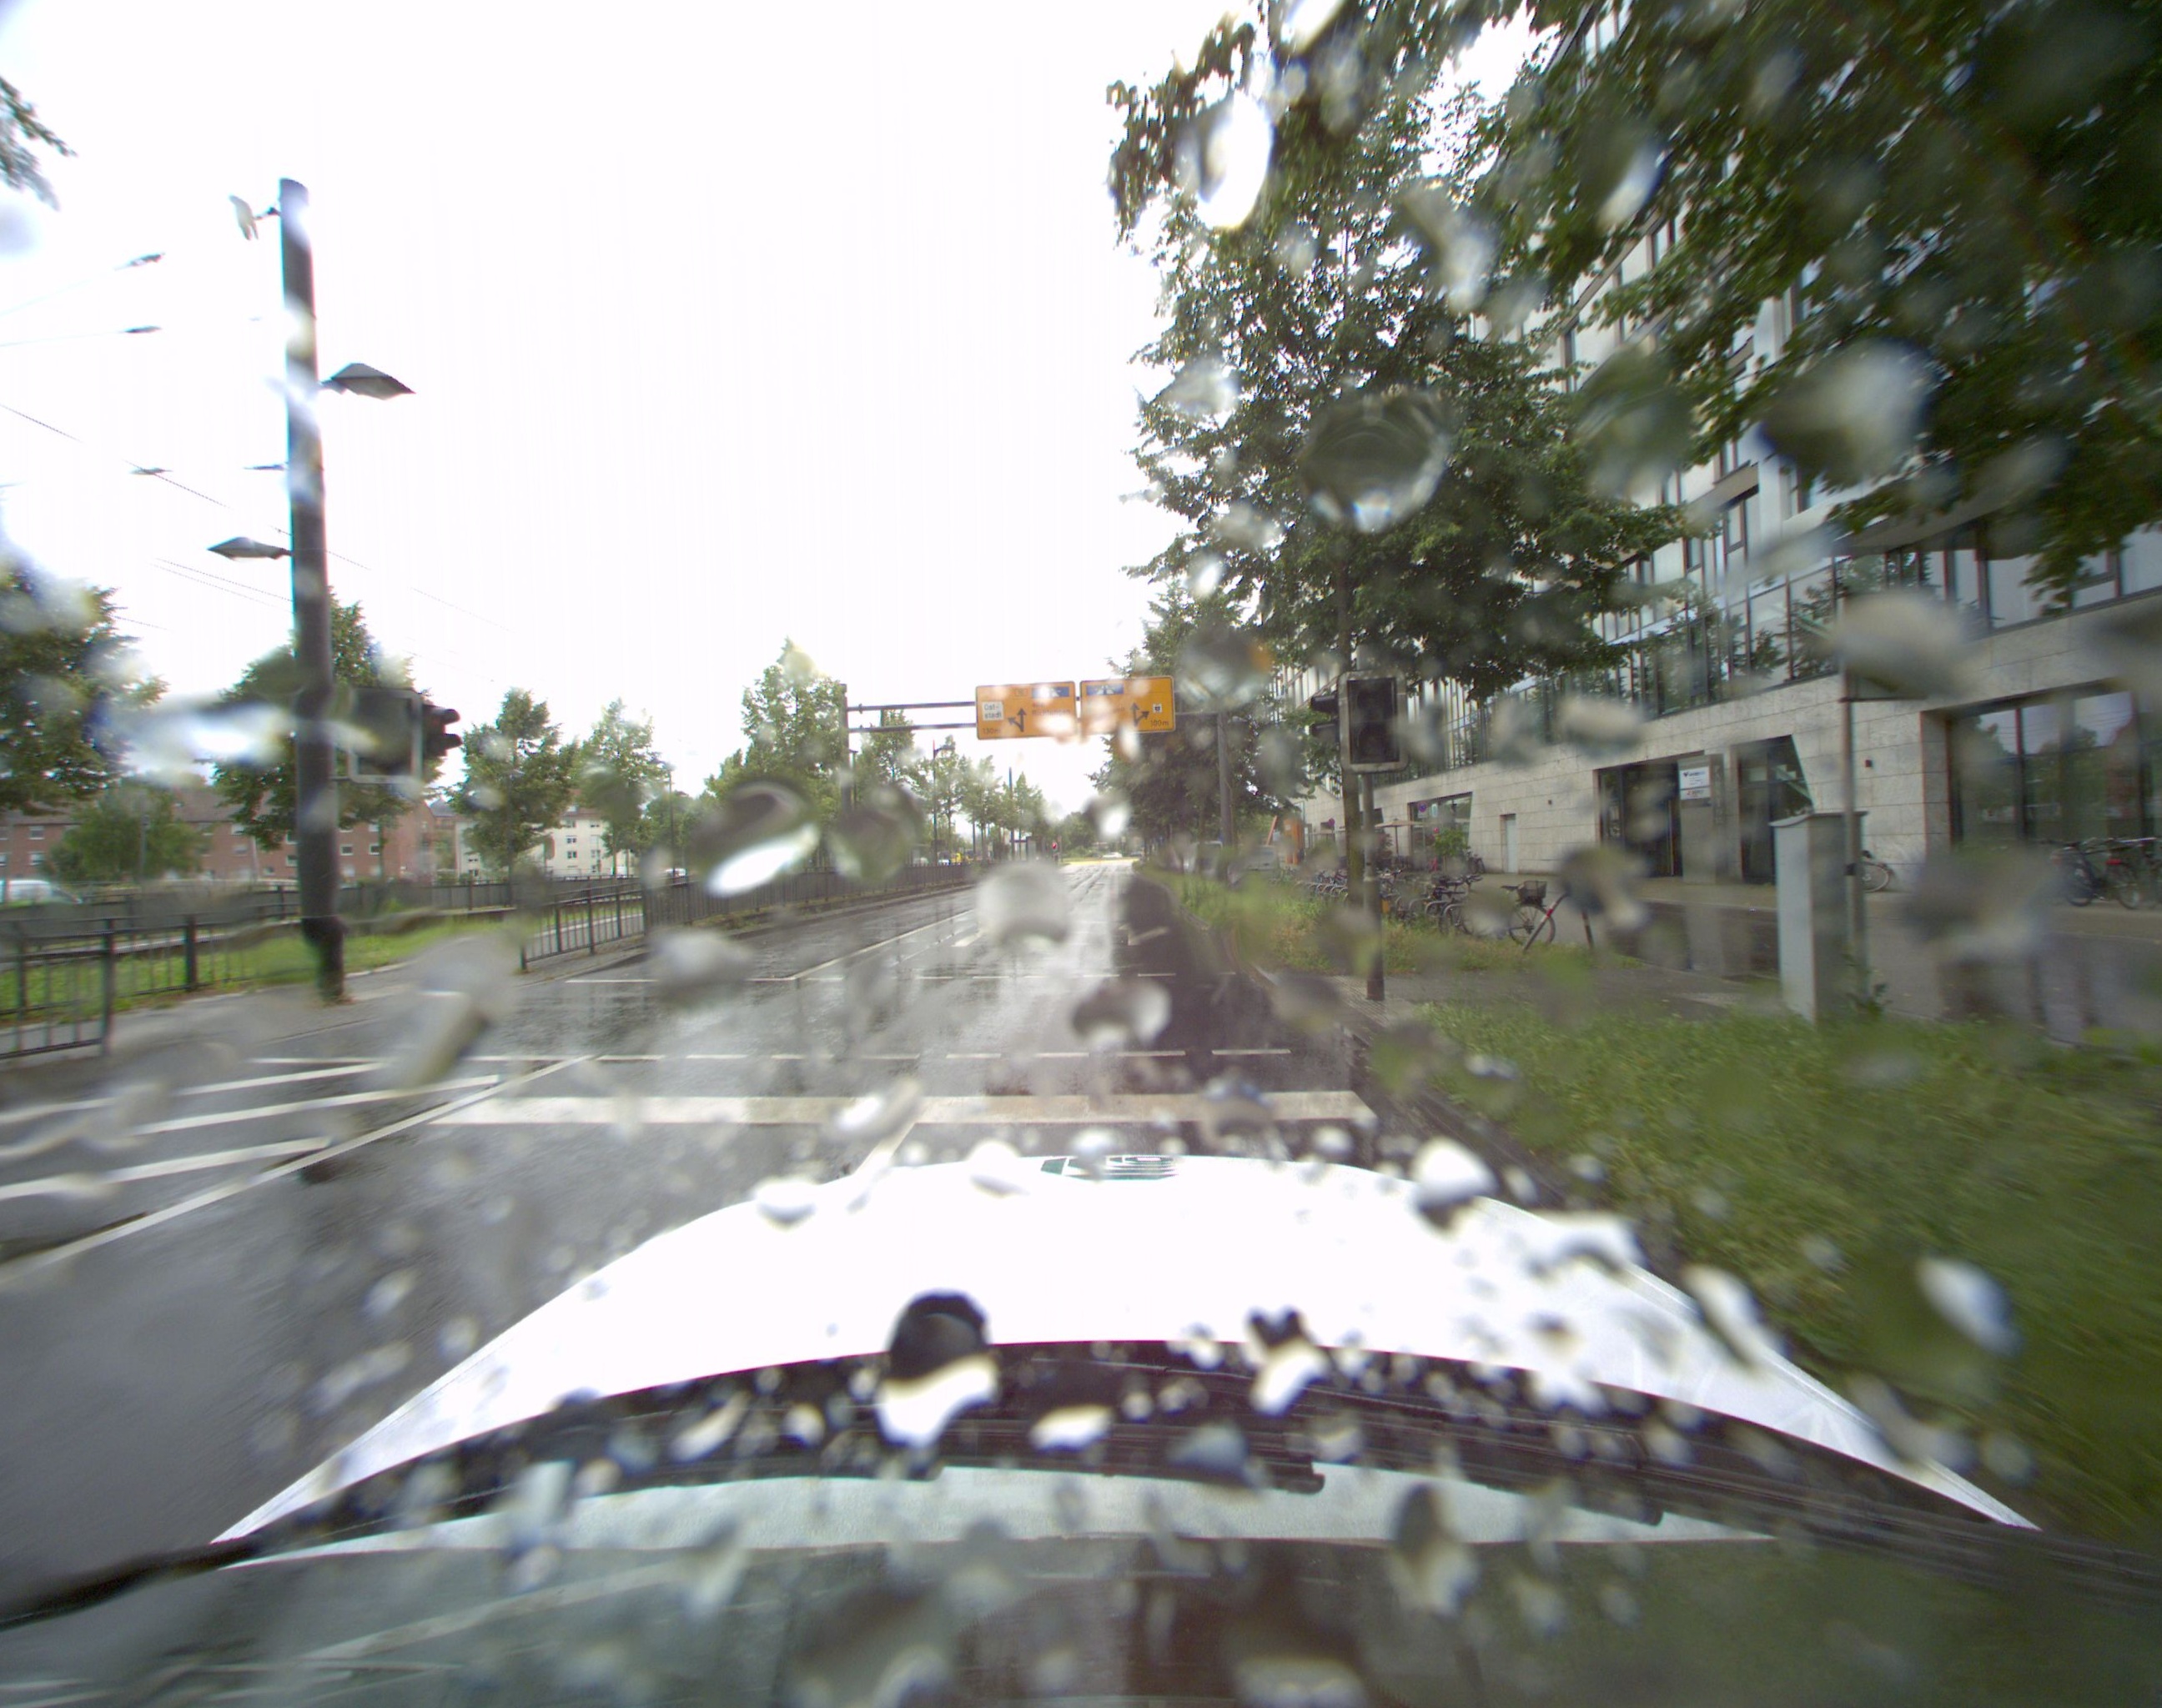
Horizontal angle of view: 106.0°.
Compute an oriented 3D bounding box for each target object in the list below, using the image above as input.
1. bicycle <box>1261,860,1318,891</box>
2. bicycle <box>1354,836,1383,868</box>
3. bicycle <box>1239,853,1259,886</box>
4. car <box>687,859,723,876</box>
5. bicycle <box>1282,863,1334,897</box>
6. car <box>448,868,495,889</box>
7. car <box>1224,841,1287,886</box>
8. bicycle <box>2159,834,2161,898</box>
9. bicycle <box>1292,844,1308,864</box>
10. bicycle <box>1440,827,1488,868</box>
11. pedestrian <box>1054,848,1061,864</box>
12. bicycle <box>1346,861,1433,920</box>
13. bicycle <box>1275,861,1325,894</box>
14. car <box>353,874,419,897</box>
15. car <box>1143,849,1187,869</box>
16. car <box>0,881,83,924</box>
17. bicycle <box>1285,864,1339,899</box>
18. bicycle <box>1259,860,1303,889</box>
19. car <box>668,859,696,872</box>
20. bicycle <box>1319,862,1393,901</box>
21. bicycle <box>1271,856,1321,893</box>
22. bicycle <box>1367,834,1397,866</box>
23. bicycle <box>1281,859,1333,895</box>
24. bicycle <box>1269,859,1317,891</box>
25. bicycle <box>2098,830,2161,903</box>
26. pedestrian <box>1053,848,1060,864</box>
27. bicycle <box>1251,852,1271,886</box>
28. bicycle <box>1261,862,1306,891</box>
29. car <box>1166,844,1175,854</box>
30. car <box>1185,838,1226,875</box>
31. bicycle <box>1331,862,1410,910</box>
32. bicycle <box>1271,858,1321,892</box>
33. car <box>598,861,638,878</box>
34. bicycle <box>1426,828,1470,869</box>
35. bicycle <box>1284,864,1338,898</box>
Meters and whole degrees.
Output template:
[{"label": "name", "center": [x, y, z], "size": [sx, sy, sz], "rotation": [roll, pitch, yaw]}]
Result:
[{"label": "bicycle", "center": [6.274, 0.644, 24.507], "size": [1.589, 0.849, 0.311], "rotation": [-2, 0, 1]}, {"label": "bicycle", "center": [16.454, -0.140, 46.668], "size": [0.642, 1.722, 3.122], "rotation": [-2, 2, 2]}, {"label": "bicycle", "center": [4.476, 0.402, 21.724], "size": [0.273, 0.849, 1.293], "rotation": [-2, 0, 3]}, {"label": "car", "center": [-47.537, 1.723, 103.052], "size": [1.978, 2.013, 4.018], "rotation": [-2, 0, 18]}, {"label": "bicycle", "center": [6.078, 0.682, 21.805], "size": [1.283, 0.849, 0.275], "rotation": [-3, 0, 1]}, {"label": "car", "center": [-67.985, 2.696, 90.950], "size": [1.986, 2.013, 4.003], "rotation": [-2, 2, 2]}, {"label": "car", "center": [7.554, 0.385, 35.671], "size": [1.898, 1.791, 4.691], "rotation": [-2, 0, 2]}, {"label": "bicycle", "center": [15.988, 0.193, 11.131], "size": [1.798, 1.028, 0.402], "rotation": [-2, -1, 4]}, {"label": "bicycle", "center": [18.314, 0.003, 68.191], "size": [0.663, 1.534, 2.767], "rotation": [-2, 2, 3]}, {"label": "bicycle", "center": [17.224, -0.327, 36.705], "size": [0.769, 1.722, 3.122], "rotation": [-2, 2, 2]}, {"label": "pedestrian", "center": [-2.987, 0.194, 105.186], "size": [0.693, 2.013, 0.658], "rotation": [-2, 2, 11]}, {"label": "bicycle", "center": [6.235, 0.732, 16.463], "size": [1.607, 1.096, 0.297], "rotation": [-3, 0, 0]}, {"label": "bicycle", "center": [6.053, 0.646, 22.517], "size": [1.283, 0.849, 0.275], "rotation": [-2, 0, 1]}, {"label": "car", "center": [-76.436, 3.395, 89.685], "size": [2.073, 2.013, 5.388], "rotation": [-2, 2, 10]}, {"label": "car", "center": [7.295, 0.436, 71.213], "size": [1.827, 1.545, 3.962], "rotation": [-4, 3, -30]}, {"label": "car", "center": [-67.168, 3.117, 51.151], "size": [1.830, 2.326, 5.504], "rotation": [-2, 2, 2]}, {"label": "bicycle", "center": [5.983, 0.705, 21.090], "size": [1.283, 0.849, 0.275], "rotation": [-2, 0, 1]}, {"label": "bicycle", "center": [6.364, 0.646, 25.925], "size": [1.283, 0.849, 0.311], "rotation": [-2, 0, 1]}, {"label": "car", "center": [-59.711, 1.726, 121.889], "size": [3.545, 1.738, 1.694], "rotation": [-3, 2, -22]}, {"label": "bicycle", "center": [6.354, 0.631, 18.853], "size": [1.609, 0.849, 0.275], "rotation": [-1, -1, 1]}, {"label": "bicycle", "center": [6.021, 0.578, 22.824], "size": [1.283, 0.989, 0.275], "rotation": [-2, 0, 1]}, {"label": "bicycle", "center": [17.197, -0.263, 46.646], "size": [0.642, 1.722, 3.122], "rotation": [-2, 2, 2]}, {"label": "bicycle", "center": [6.150, 0.611, 22.166], "size": [1.283, 0.918, 0.275], "rotation": [-3, 0, 1]}, {"label": "bicycle", "center": [6.117, 0.610, 23.515], "size": [1.283, 0.849, 0.275], "rotation": [-3, 0, 1]}, {"label": "bicycle", "center": [16.126, 0.157, 11.858], "size": [1.798, 1.028, 0.541], "rotation": [-2, -1, 4]}, {"label": "pedestrian", "center": [-3.178, 0.261, 106.062], "size": [0.695, 2.013, 0.656], "rotation": [-2, 2, 2]}, {"label": "bicycle", "center": [4.803, 0.390, 21.775], "size": [0.273, 0.849, 1.293], "rotation": [-2, 0, 3]}, {"label": "bicycle", "center": [6.178, 0.680, 24.884], "size": [1.283, 0.849, 0.275], "rotation": [-2, 0, 1]}, {"label": "car", "center": [16.130, -0.896, 146.535], "size": [1.615, 1.699, 3.462], "rotation": [-2, 2, 6]}, {"label": "car", "center": [8.253, 0.151, 54.223], "size": [2.113, 2.274, 4.567], "rotation": [-2, 0, 2]}, {"label": "bicycle", "center": [6.366, 0.706, 17.915], "size": [1.609, 1.022, 0.275], "rotation": [-1, -1, 1]}, {"label": "bicycle", "center": [6.101, 0.603, 23.144], "size": [1.320, 0.910, 0.275], "rotation": [-3, 0, 1]}, {"label": "car", "center": [-60.841, 2.039, 107.127], "size": [1.978, 2.013, 4.235], "rotation": [-2, 0, 18]}, {"label": "bicycle", "center": [16.440, -0.289, 36.603], "size": [0.642, 1.722, 3.122], "rotation": [-2, 2, 2]}, {"label": "bicycle", "center": [6.052, 0.709, 21.463], "size": [1.283, 0.849, 0.355], "rotation": [-2, 0, 1]}]
